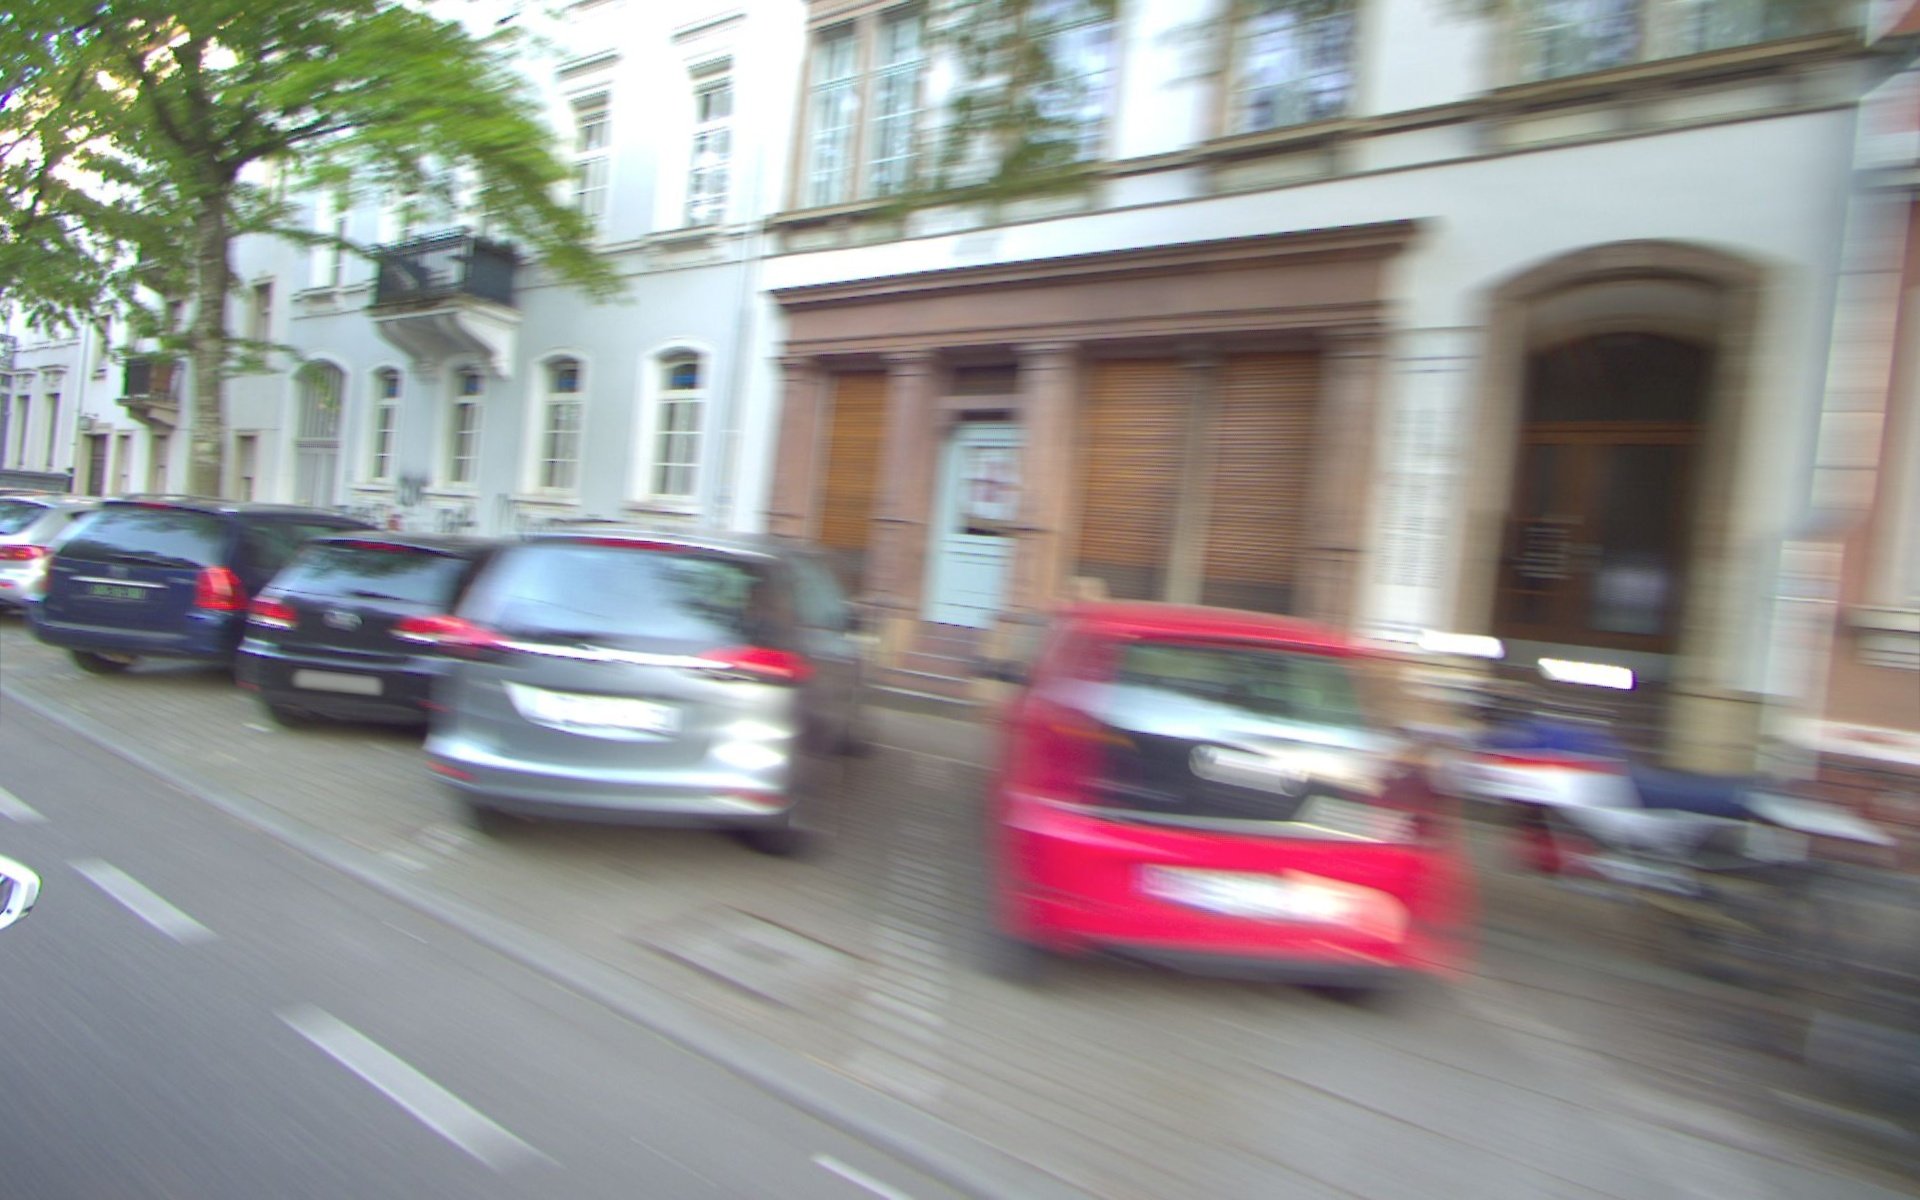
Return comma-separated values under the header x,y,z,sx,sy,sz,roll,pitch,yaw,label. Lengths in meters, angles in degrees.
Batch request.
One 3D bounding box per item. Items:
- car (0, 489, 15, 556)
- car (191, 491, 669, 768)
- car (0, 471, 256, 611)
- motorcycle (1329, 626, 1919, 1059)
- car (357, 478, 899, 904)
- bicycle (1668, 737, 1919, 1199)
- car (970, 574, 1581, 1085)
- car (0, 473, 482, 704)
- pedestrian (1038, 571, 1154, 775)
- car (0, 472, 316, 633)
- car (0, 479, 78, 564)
x,y,z,sx,sy,sz,roll,pitch,yaw,label
-22.132,-1.773,20.848,1.629,1.464,3.649,5,1,-1,car
-3.973,0.078,8.388,1.714,1.626,3.948,5,4,2,car
-11.906,-0.791,13.514,1.805,1.625,3.953,5,2,6,car
2.977,0.937,4.735,0.869,1.411,2.054,3,2,-42,motorcycle
-1.583,0.343,6.340,1.866,1.691,3.951,5,2,2,car
3.007,1.138,3.199,0.455,1.090,1.668,6,3,10,bicycle
1.060,0.728,5.317,1.797,1.497,3.950,6,2,-1,car
-6.567,-0.160,9.719,1.805,1.625,3.951,5,2,2,car
1.171,0.611,8.629,0.614,1.629,0.586,7,1,34,pedestrian
-10.197,-0.562,12.230,1.805,1.625,3.953,4,1,8,car
-19.270,-1.565,18.879,1.805,1.625,3.951,5,2,2,car
